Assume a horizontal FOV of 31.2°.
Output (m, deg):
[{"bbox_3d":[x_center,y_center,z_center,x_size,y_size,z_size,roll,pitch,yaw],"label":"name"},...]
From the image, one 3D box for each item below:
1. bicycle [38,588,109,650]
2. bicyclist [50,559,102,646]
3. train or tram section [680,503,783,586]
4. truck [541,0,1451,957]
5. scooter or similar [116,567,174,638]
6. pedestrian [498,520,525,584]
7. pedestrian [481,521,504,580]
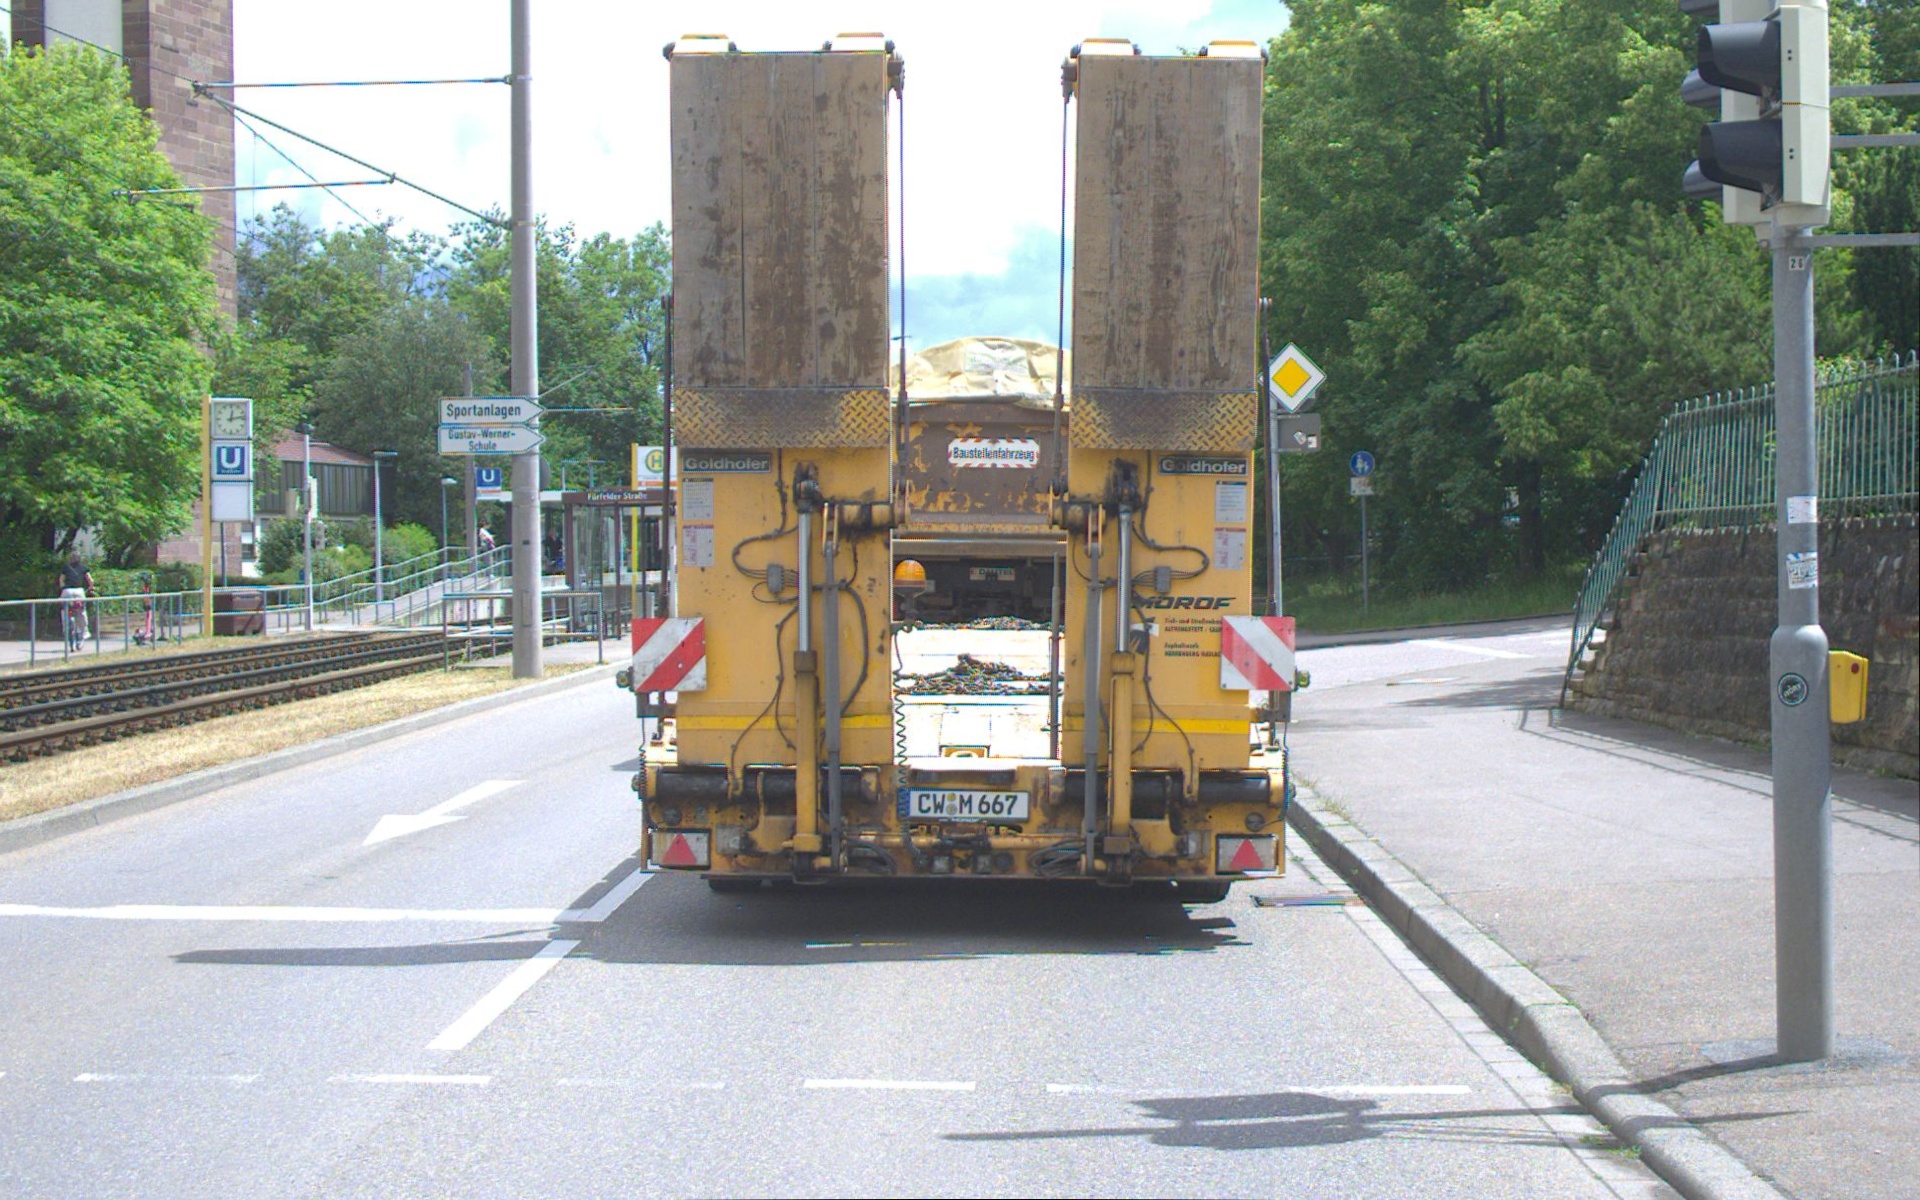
[{"bbox_3d":[-14.660,0.307,56.884,0.637,0.990,1.928,1,0,1],"label":"bicycle"},{"bbox_3d":[-14.664,0.030,57.028,0.633,1.424,0.790,1,0,1],"label":"bicyclist"},{"bbox_3d":[-10.123,-2.400,154.477,3.108,3.453,18.826,1,0,1],"label":"train or tram section"},{"bbox_3d":[-0.042,-0.594,19.861,3.402,3.719,13.739,-1,1,-2],"label":"truck"},{"bbox_3d":[-14.492,0.036,61.143,0.649,1.233,1.401,1,1,1],"label":"scooter or similar"},{"bbox_3d":[-14.144,-1.522,108.431,0.712,2.007,0.732,1,0,-1],"label":"pedestrian"},{"bbox_3d":[-14.098,-1.495,103.625,0.584,1.771,0.576,1,0,1],"label":"pedestrian"}]
